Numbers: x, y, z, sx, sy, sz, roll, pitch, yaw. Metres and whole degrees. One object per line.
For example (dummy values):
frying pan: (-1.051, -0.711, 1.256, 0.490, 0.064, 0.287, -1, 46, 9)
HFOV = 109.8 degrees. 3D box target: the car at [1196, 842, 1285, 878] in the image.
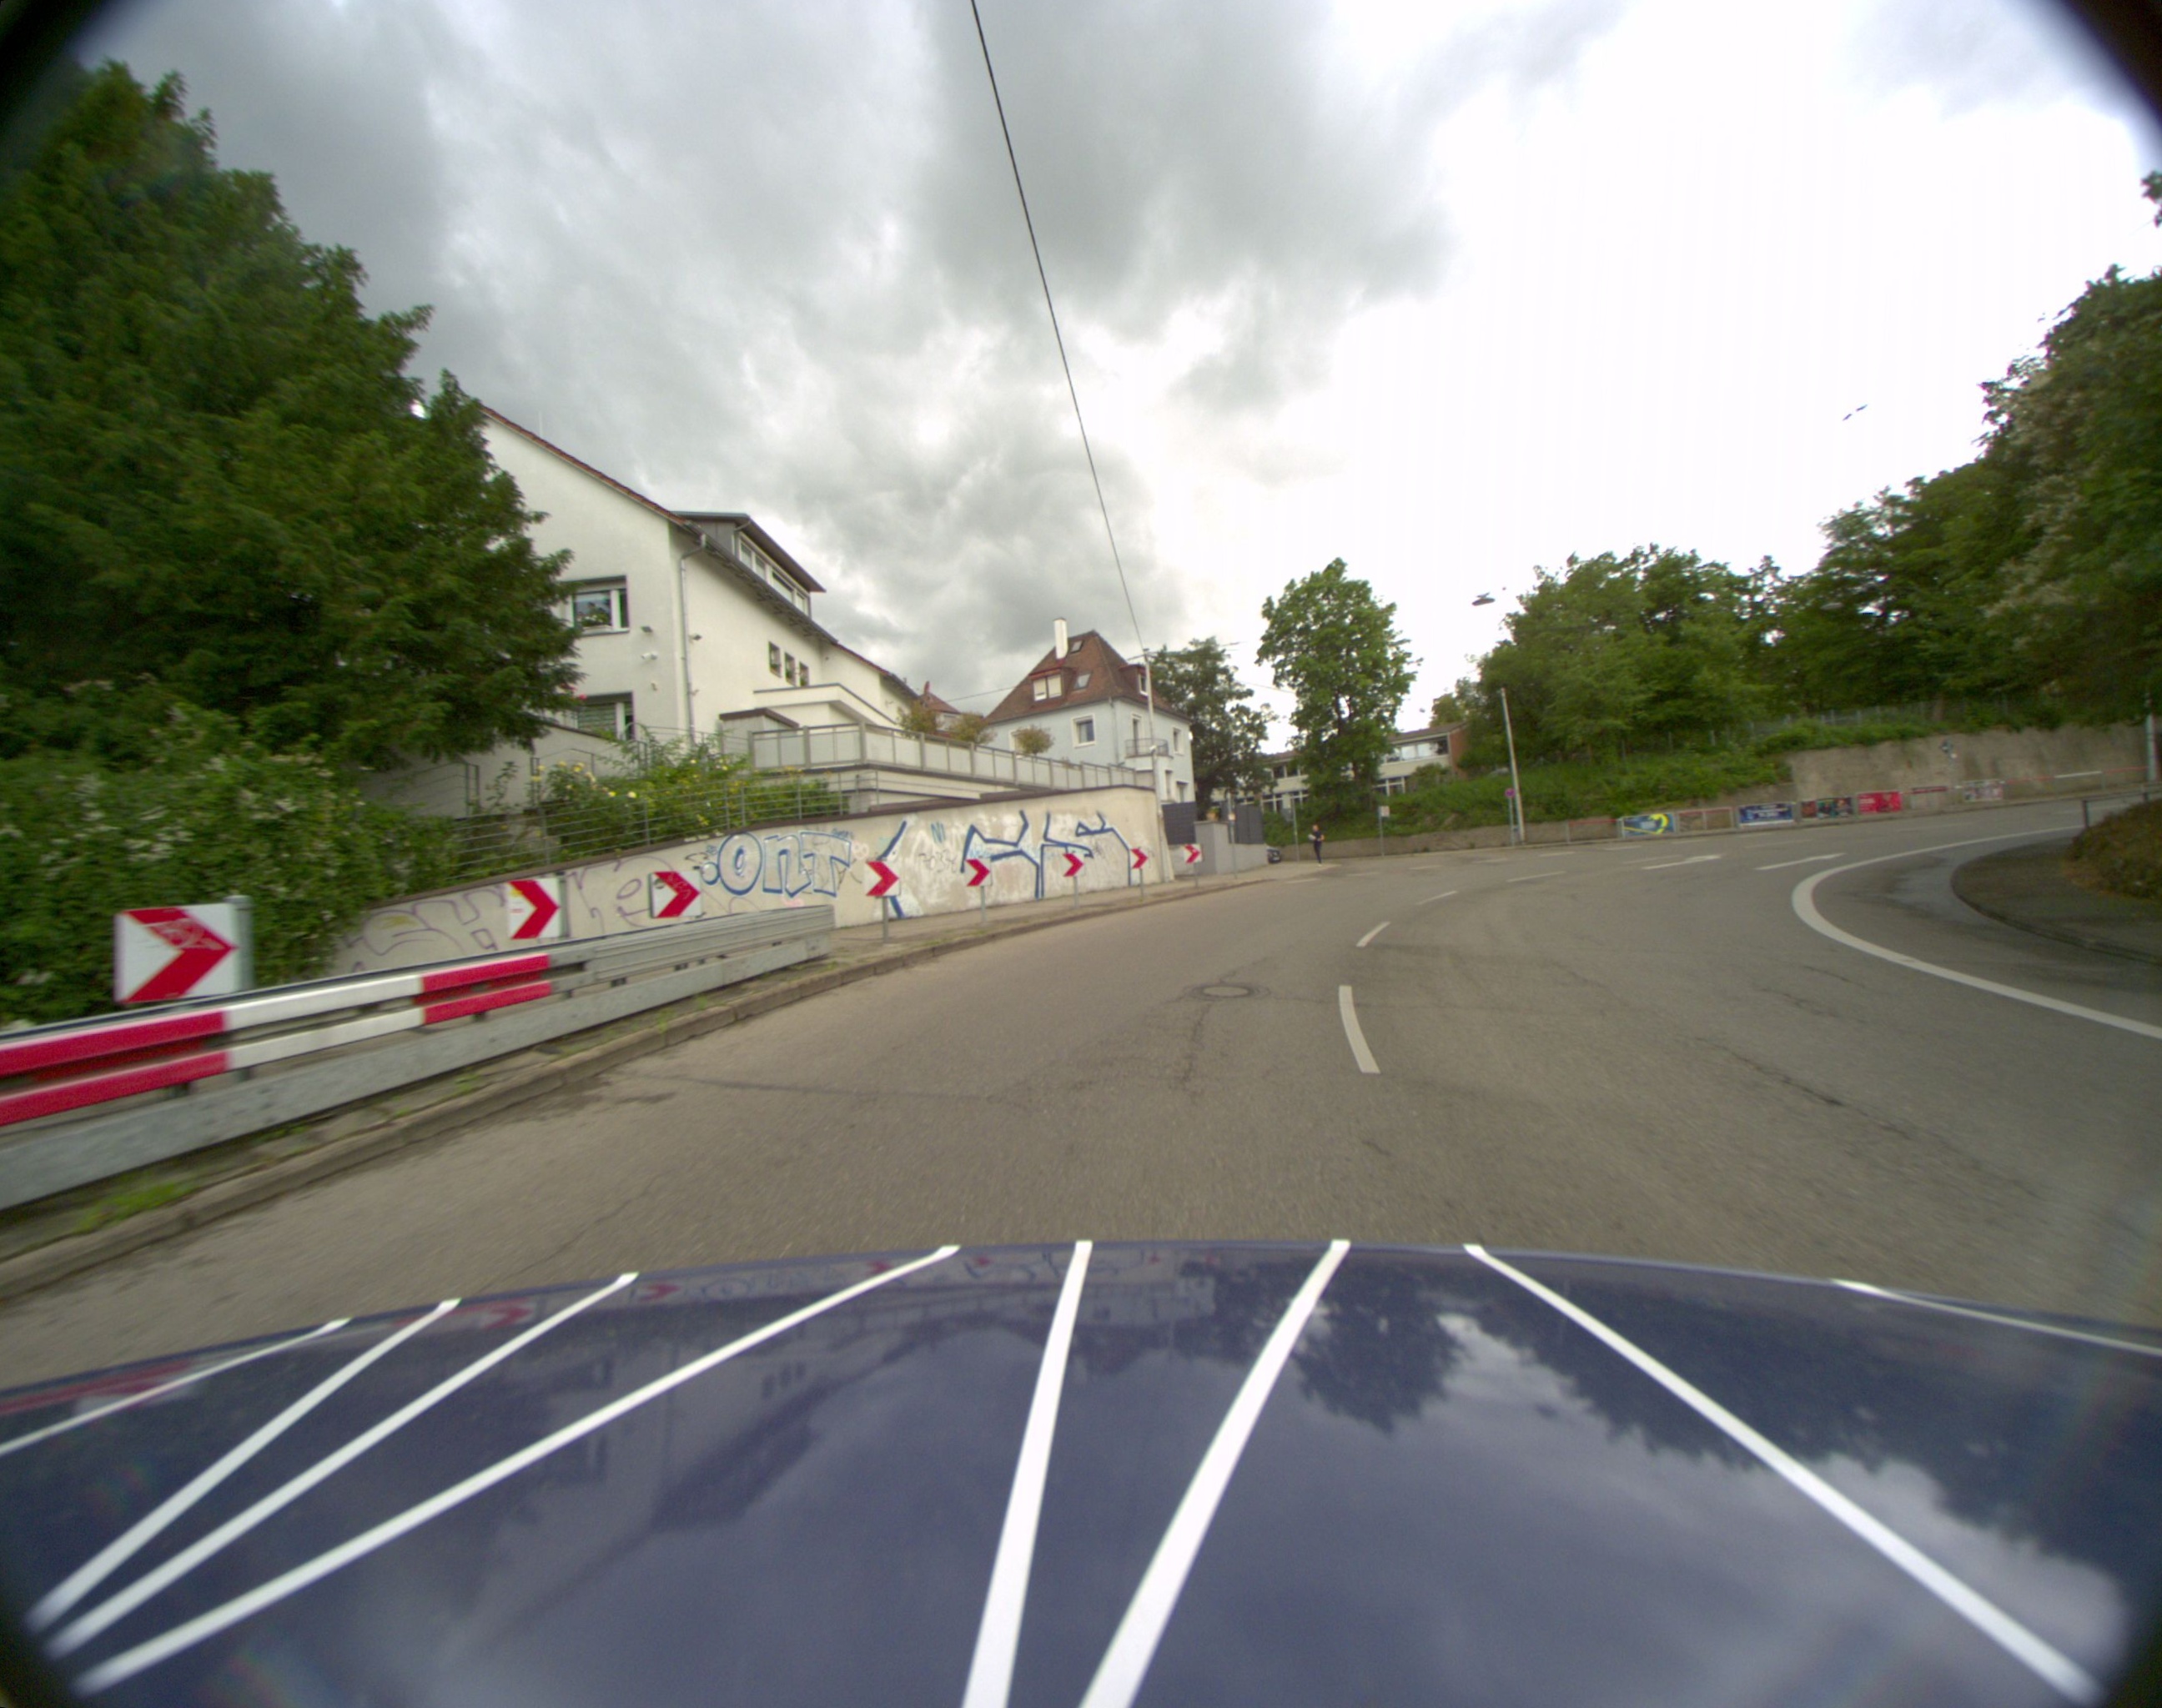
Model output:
car: (9.431, 0.389, 45.258, 1.954, 1.852, 4.828, -3, -2, -41)

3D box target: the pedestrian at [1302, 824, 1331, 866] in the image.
pedestrian: (10.567, -0.397, 34.141, 0.985, 1.817, 0.574, -3, 0, -14)
